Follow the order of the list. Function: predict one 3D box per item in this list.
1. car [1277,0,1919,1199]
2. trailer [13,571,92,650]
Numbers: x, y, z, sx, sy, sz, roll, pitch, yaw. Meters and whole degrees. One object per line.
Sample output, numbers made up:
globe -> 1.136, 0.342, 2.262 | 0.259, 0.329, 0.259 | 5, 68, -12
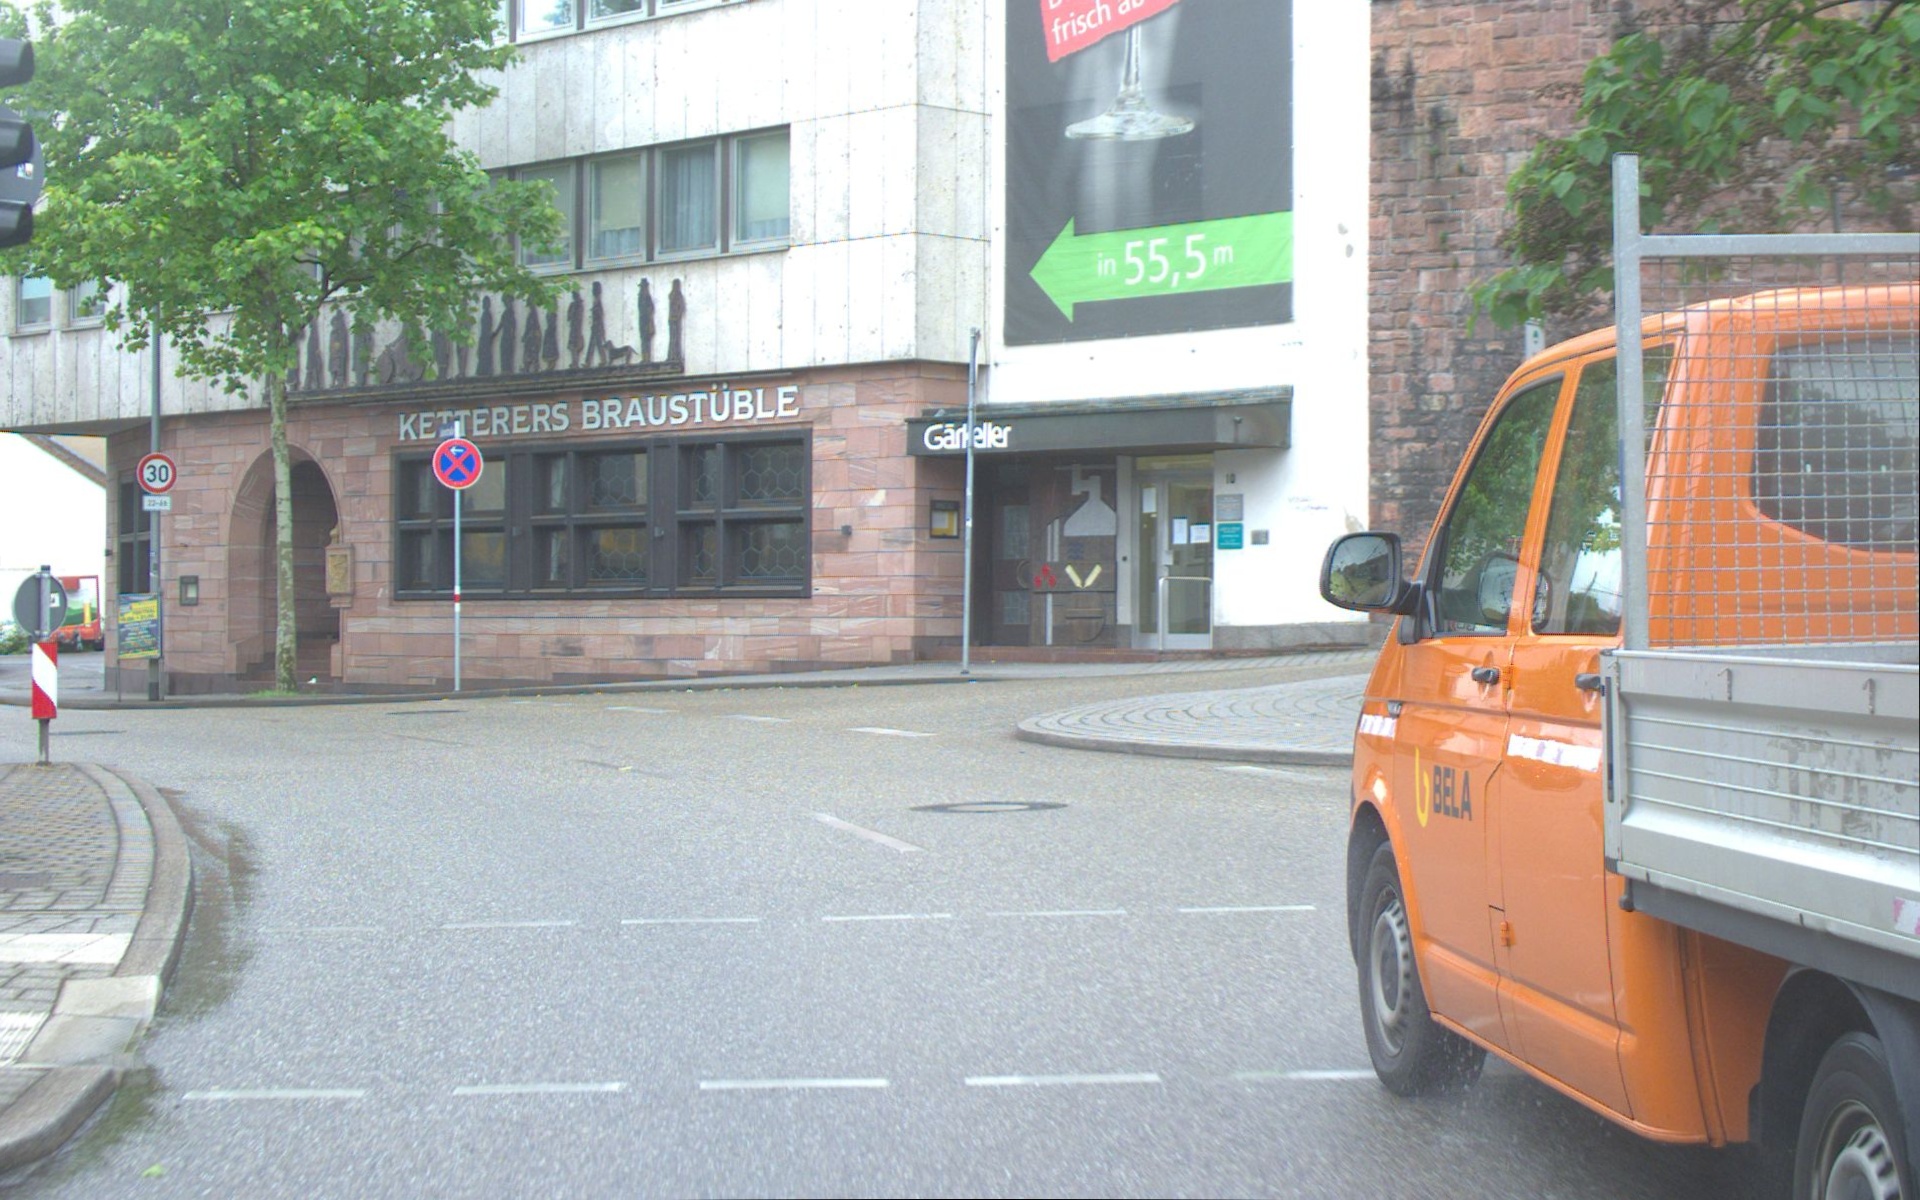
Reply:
car -> 2.156, 0.263, 6.960 | 2.101, 2.082, 5.542 | 1, -1, -4
trailer -> -32.640, 0.374, 123.577 | 2.126, 2.707, 5.392 | -2, 1, -20
